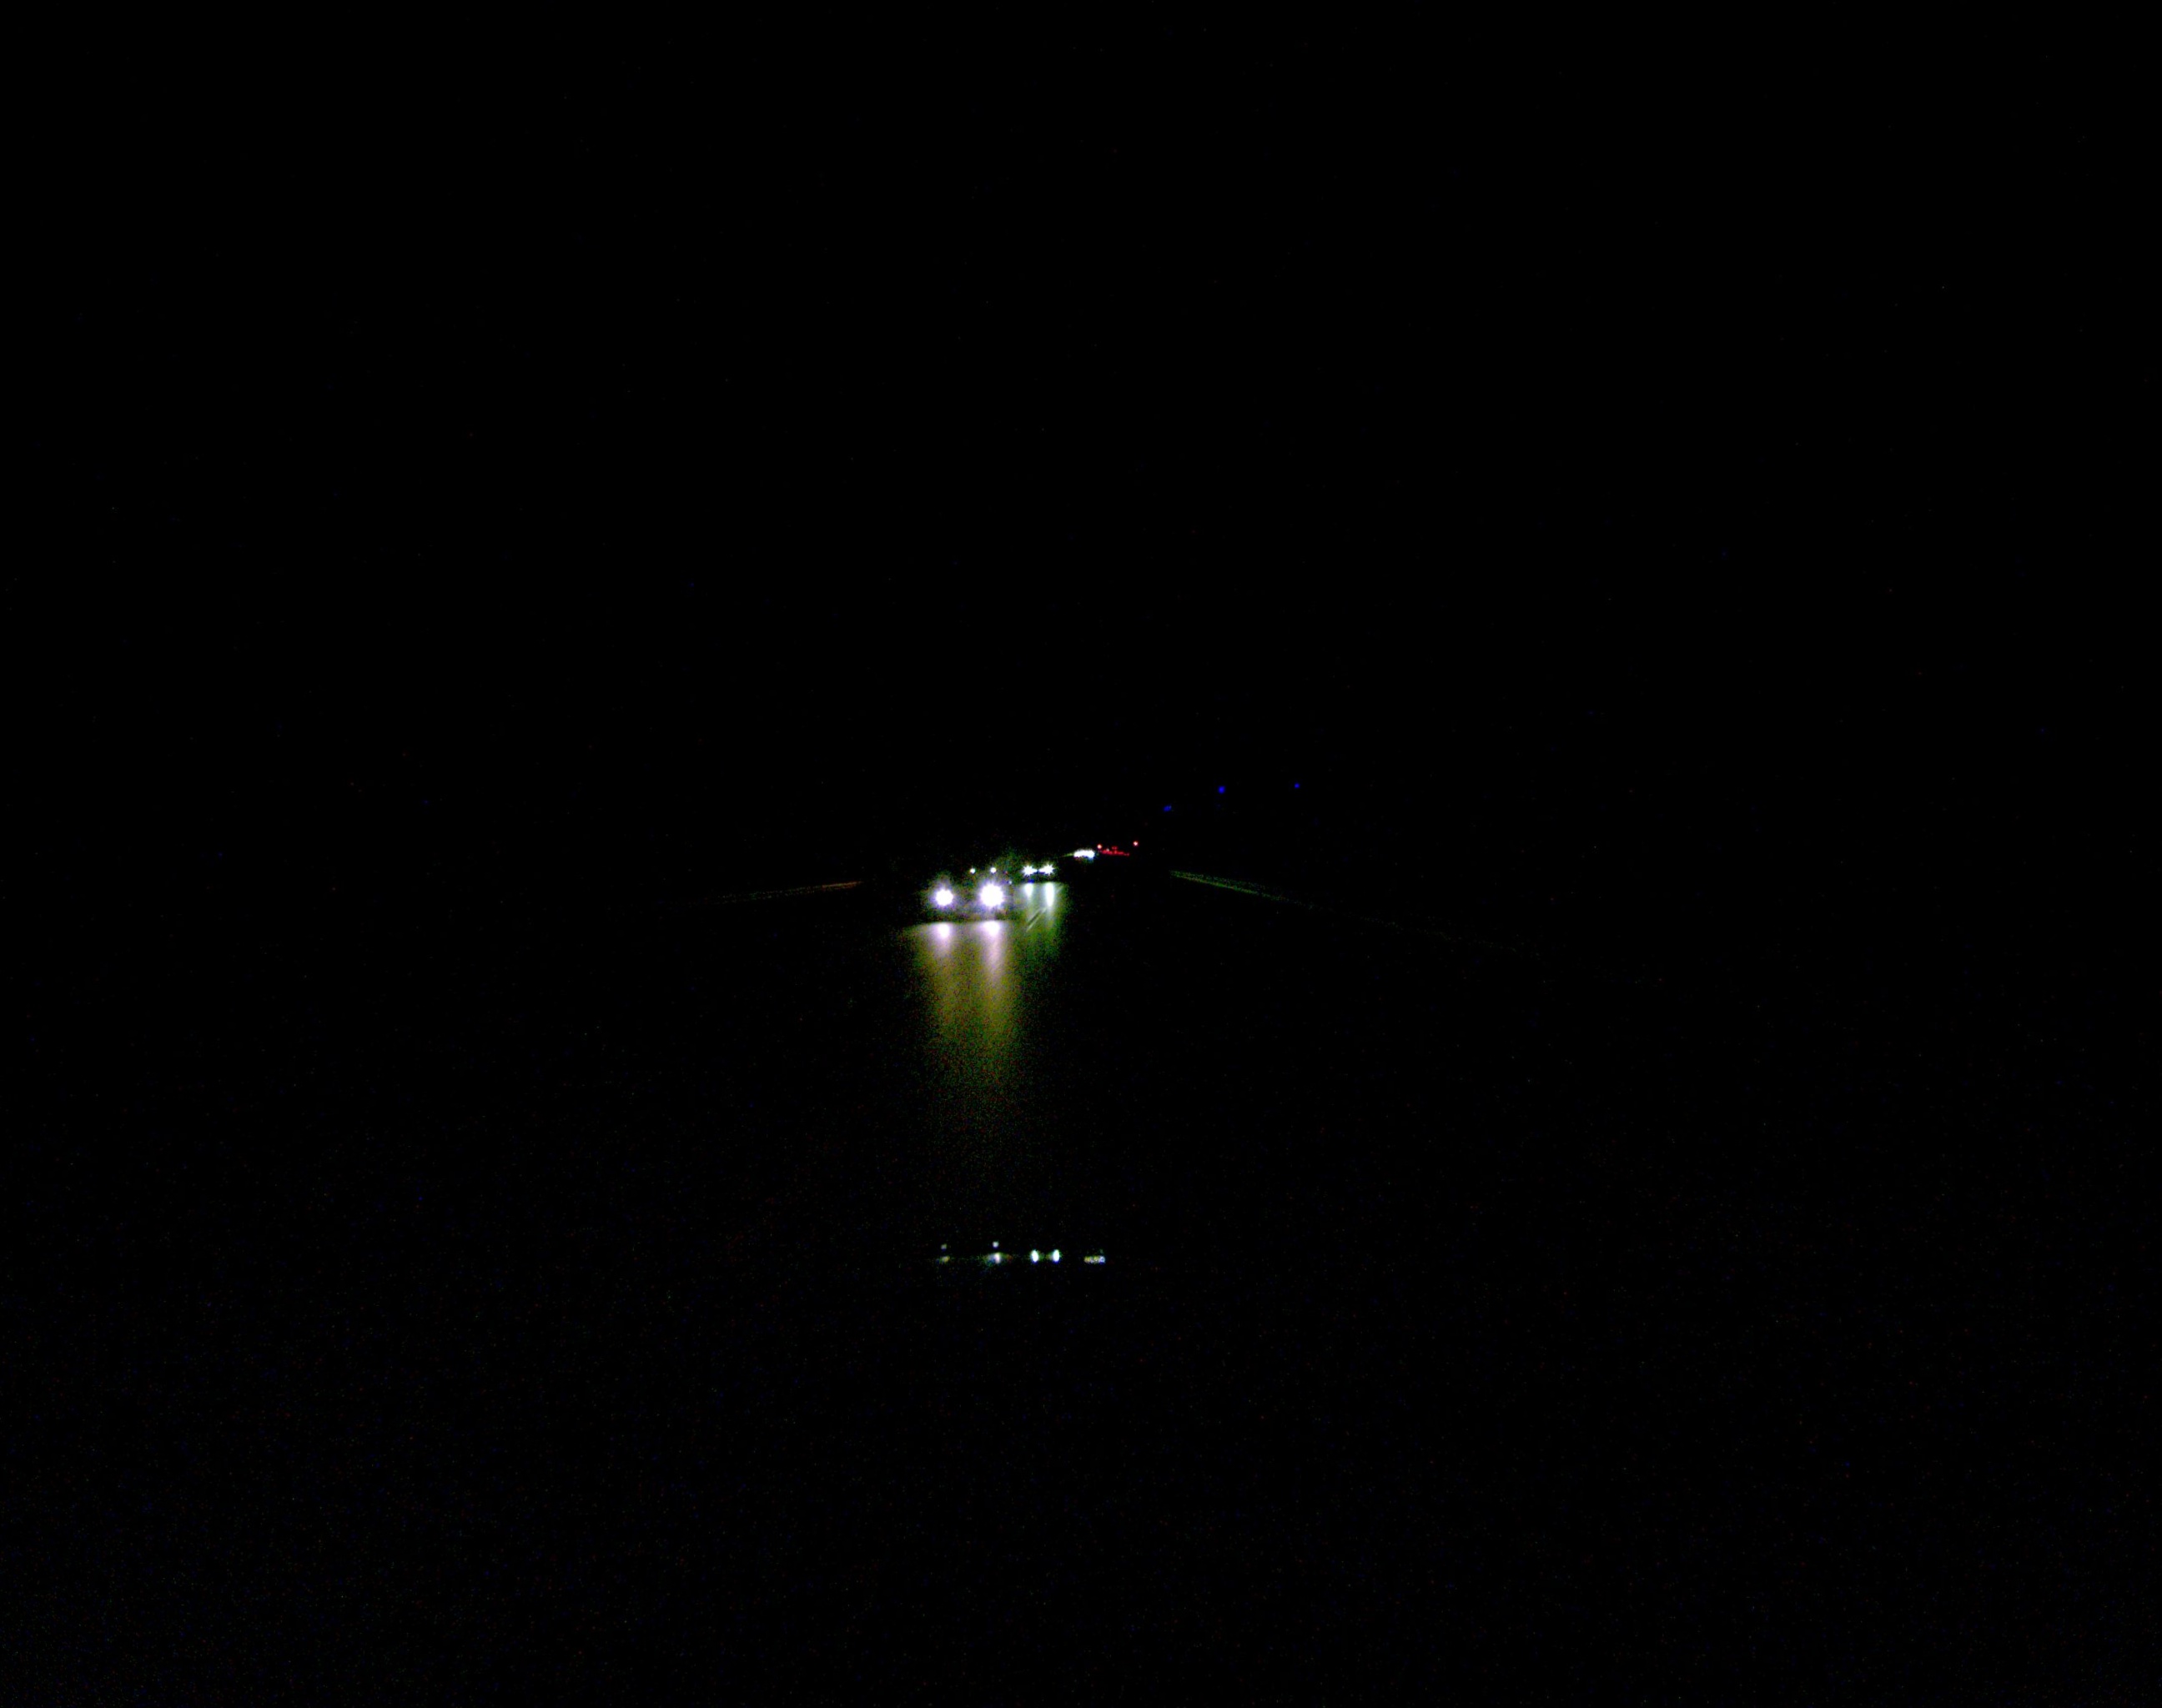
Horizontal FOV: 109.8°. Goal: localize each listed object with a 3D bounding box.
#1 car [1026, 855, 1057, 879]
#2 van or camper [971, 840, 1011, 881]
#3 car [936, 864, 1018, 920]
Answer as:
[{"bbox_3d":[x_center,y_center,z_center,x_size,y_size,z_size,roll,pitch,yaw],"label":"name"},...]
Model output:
[{"bbox_3d":[-2.723,0.881,53.095,1.795,1.532,4.225,-3,0,1],"label":"car"},{"bbox_3d":[-6.635,0.472,56.671,2.213,2.755,6.802,-4,0,-2],"label":"van or camper"},{"bbox_3d":[-2.900,1.034,22.052,1.690,1.405,4.226,-3,-1,1],"label":"car"}]
